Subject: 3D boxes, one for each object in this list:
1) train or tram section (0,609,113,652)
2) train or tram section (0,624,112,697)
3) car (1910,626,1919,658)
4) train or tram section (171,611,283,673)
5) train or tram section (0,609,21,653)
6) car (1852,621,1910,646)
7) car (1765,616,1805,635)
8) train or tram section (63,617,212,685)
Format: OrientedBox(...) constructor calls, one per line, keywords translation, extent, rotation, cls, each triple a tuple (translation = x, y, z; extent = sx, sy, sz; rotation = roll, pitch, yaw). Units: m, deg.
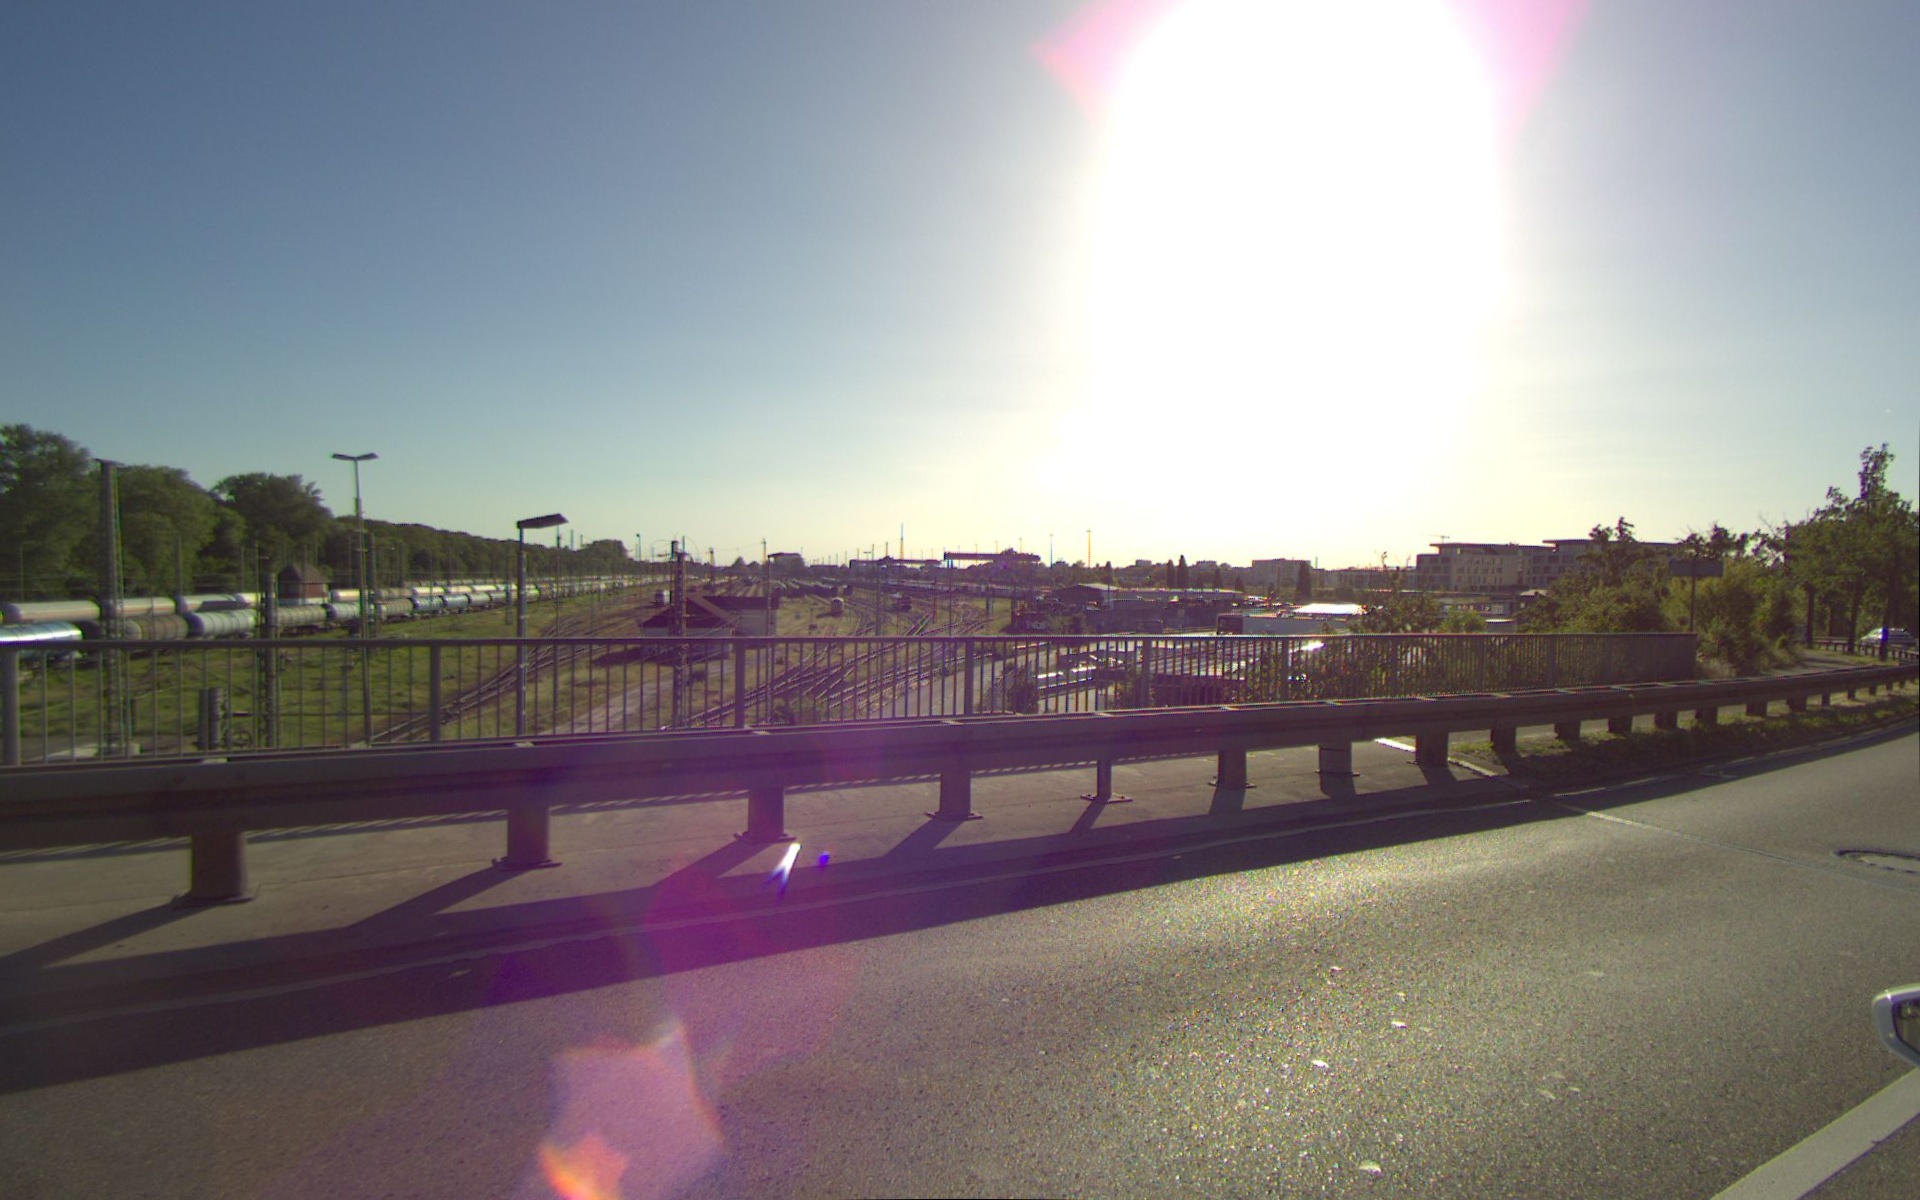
OrientedBox(translation=(-116.955, 3.716, 129.332), extent=(3.978, 5.154, 17.828), rotation=(1, -1, -12), cls="train or tram section")
OrientedBox(translation=(-78.741, 4.909, 84.405), extent=(3.837, 5.592, 16.472), rotation=(1, -1, -11), cls="train or tram section")
OrientedBox(translation=(45.504, 1.961, 46.513), extent=(1.769, 1.450, 3.812), rotation=(0, -1, 37), cls="car")
OrientedBox(translation=(-85.057, 4.640, 117.217), extent=(3.837, 6.699, 16.472), rotation=(1, -1, -11), cls="train or tram section")
OrientedBox(translation=(-113.260, 3.557, 111.725), extent=(3.978, 5.154, 18.147), rotation=(1, -1, -12), cls="train or tram section")
OrientedBox(translation=(61.624, 2.214, 67.290), extent=(1.831, 1.606, 3.910), rotation=(0, -1, 27), cls="car")
OrientedBox(translation=(71.674, 2.223, 87.302), extent=(1.807, 1.576, 3.890), rotation=(0, -1, 25), cls="car")
OrientedBox(translation=(-81.885, 4.826, 100.792), extent=(3.837, 6.089, 16.927), rotation=(1, -1, -11), cls="train or tram section")
